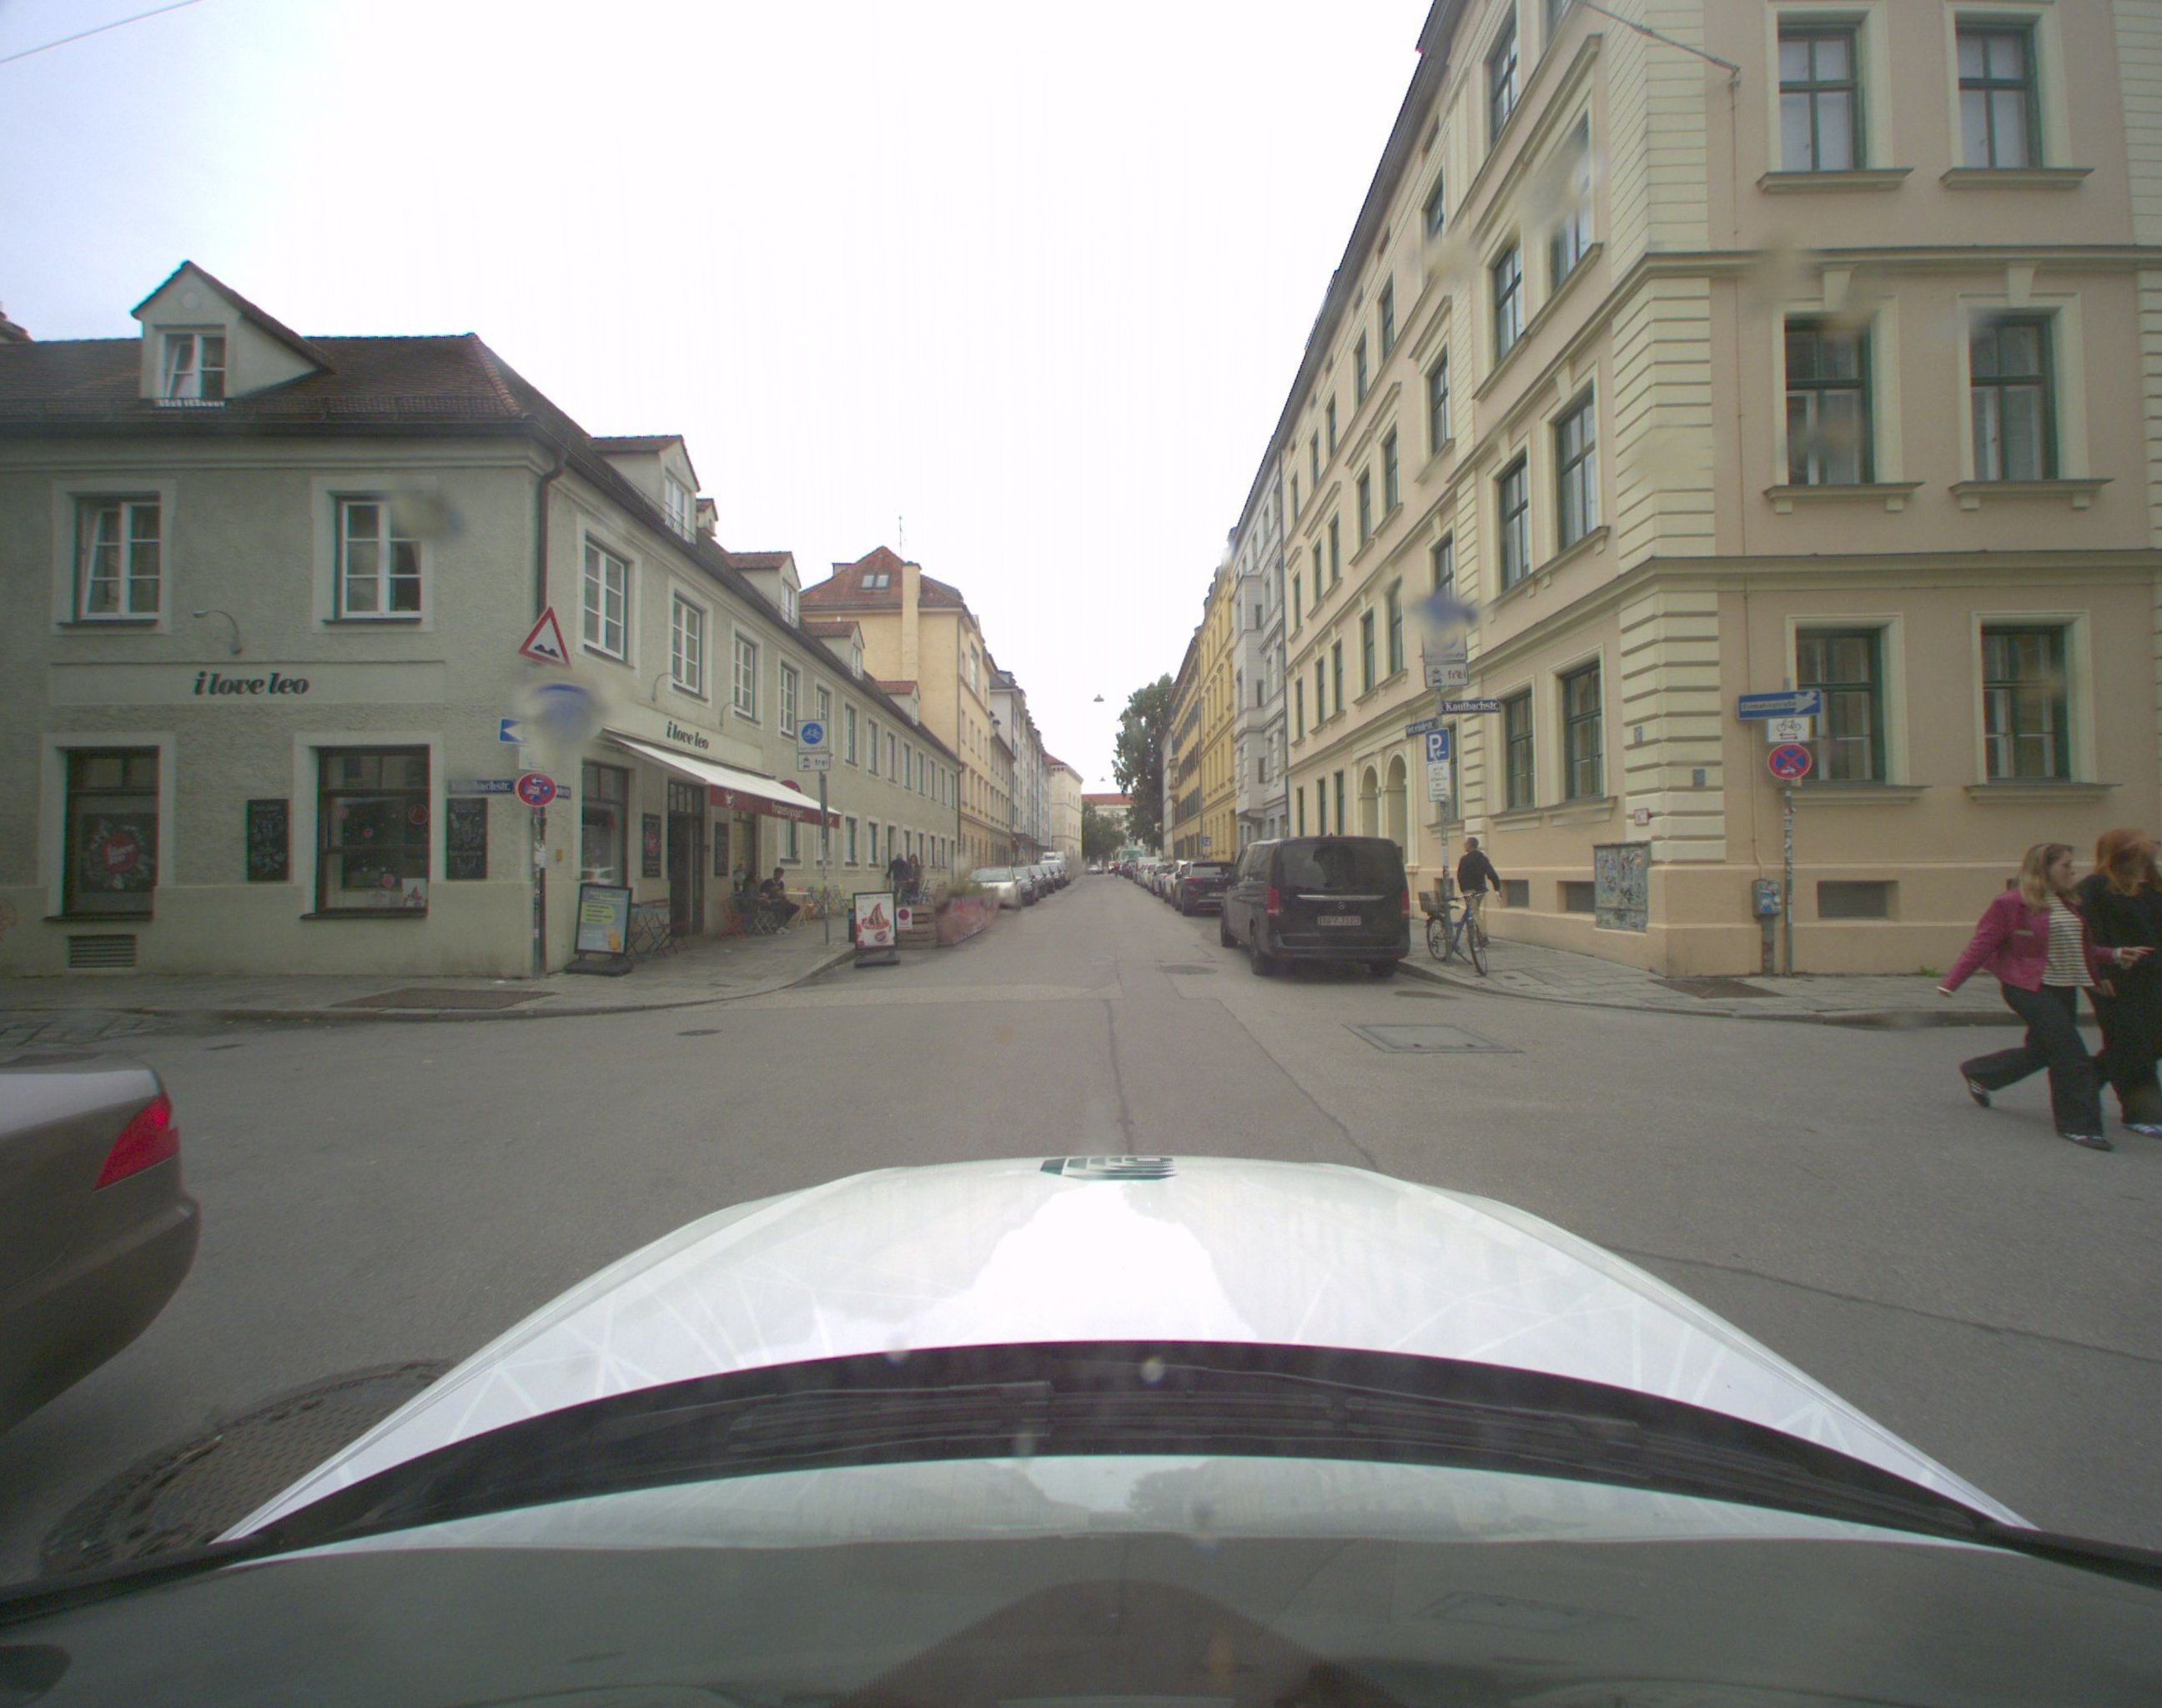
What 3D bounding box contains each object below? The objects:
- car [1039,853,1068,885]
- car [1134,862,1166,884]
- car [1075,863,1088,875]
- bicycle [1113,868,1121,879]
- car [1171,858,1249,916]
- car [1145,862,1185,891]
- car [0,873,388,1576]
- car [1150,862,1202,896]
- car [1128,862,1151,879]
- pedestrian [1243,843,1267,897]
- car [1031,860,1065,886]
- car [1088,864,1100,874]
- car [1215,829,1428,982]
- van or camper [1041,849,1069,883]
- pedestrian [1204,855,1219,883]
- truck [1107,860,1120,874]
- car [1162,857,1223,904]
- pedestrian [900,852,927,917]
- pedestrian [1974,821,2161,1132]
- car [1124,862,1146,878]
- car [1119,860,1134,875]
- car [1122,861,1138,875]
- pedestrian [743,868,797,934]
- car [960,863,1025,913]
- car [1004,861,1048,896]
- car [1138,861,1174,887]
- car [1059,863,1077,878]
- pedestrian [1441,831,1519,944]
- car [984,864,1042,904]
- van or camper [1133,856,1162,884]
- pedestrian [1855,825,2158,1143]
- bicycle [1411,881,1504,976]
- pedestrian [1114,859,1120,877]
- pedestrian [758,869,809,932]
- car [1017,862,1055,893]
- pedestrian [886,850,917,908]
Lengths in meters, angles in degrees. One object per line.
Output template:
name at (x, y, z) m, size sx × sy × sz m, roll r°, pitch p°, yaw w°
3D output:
car at (-1.790, 0.948, 52.184) m, size 1.750 × 1.995 × 4.621 m, roll 0°, pitch -1°, yaw -3°
car at (4.429, 1.223, 52.854) m, size 1.703 × 1.392 × 4.205 m, roll 0°, pitch -1°, yaw -1°
car at (0.095, 2.223, 119.391) m, size 1.699 × 1.609 × 3.866 m, roll -2°, pitch -1°, yaw 4°
bicycle at (3.494, 1.903, 79.049) m, size 0.673 × 1.095 × 1.761 m, roll -1°, pitch -2°, yaw 2°
car at (3.711, 0.921, 24.043) m, size 1.748 × 1.521 × 4.276 m, roll 0°, pitch -1°, yaw 2°
car at (4.215, 1.119, 41.436) m, size 1.701 × 1.408 × 4.816 m, roll 0°, pitch -1°, yaw 2°
car at (-3.121, 0.807, 0.214) m, size 1.674 × 1.471 × 4.947 m, roll -2°, pitch 0°, yaw -1°
car at (4.084, 1.063, 35.594) m, size 1.703 × 1.404 × 4.205 m, roll 0°, pitch -1°, yaw -1°
car at (5.163, 1.425, 72.279) m, size 1.805 × 1.465 × 4.247 m, roll 0°, pitch -1°, yaw 1°
pedestrian at (6.672, 0.615, 31.286) m, size 0.667 × 1.980 × 0.709 m, roll -4°, pitch -2°, yaw 2°
car at (-1.862, 1.090, 47.276) m, size 1.749 × 1.409 × 4.102 m, roll 0°, pitch -1°, yaw 0°
car at (2.119, 2.504, 133.812) m, size 1.699 × 1.581 × 3.867 m, roll -2°, pitch -1°, yaw 4°
car at (3.356, 0.647, 12.569) m, size 1.989 × 1.864 × 5.257 m, roll 0°, pitch -1°, yaw 3°
van or camper at (-1.796, 0.822, 57.588) m, size 1.748 × 2.281 × 5.273 m, roll 0°, pitch -1°, yaw 1°
pedestrian at (7.496, 0.875, 46.745) m, size 0.658 × 1.571 × 0.642 m, roll -4°, pitch -2°, yaw 1°
truck at (5.647, 2.272, 140.786) m, size 2.113 × 2.247 × 6.187 m, roll -1°, pitch -2°, yaw 2°
car at (3.932, 0.918, 29.359) m, size 1.736 × 1.583 × 4.468 m, roll 0°, pitch -1°, yaw 2°
pedestrian at (-4.686, 0.855, 22.791) m, size 0.526 × 1.782 × 0.877 m, roll -1°, pitch -2°, yaw 2°
pedestrian at (5.977, 0.648, 4.625) m, size 0.656 × 1.621 × 0.979 m, roll -1°, pitch -2°, yaw 0°
car at (5.080, 1.529, 77.563) m, size 1.806 × 1.425 × 4.245 m, roll 0°, pitch -1°, yaw 0°
car at (5.771, 1.709, 104.354) m, size 1.844 × 1.920 × 4.771 m, roll -1°, pitch -1°, yaw 2°
car at (5.870, 1.737, 98.471) m, size 1.805 × 1.614 × 4.157 m, roll -1°, pitch -1°, yaw 2°
pedestrian at (-6.283, 0.950, 16.465) m, size 0.800 × 1.290 × 0.694 m, roll -1°, pitch -2°, yaw 1°
car at (-2.759, 1.039, 25.998) m, size 1.750 × 1.475 × 3.711 m, roll 0°, pitch -1°, yaw -2°
car at (-2.458, 1.092, 37.156) m, size 1.749 × 1.496 × 4.198 m, roll 0°, pitch -1°, yaw -1°
car at (4.391, 1.170, 47.928) m, size 1.703 × 1.454 × 4.095 m, roll 0°, pitch -1°, yaw -1°
car at (-1.339, 1.715, 86.002) m, size 1.811 × 1.444 × 3.818 m, roll -2°, pitch -1°, yaw 1°
pedestrian at (6.337, 0.533, 12.990) m, size 0.716 × 1.717 × 1.003 m, roll -1°, pitch -2°, yaw 0°
car at (-2.513, 1.097, 31.171) m, size 1.792 × 1.339 × 4.685 m, roll 0°, pitch 0°, yaw 1°
van or camper at (4.671, 1.098, 57.757) m, size 1.827 × 1.872 × 5.080 m, roll 0°, pitch -1°, yaw 2°
pedestrian at (5.290, 0.685, 4.746) m, size 0.470 × 1.625 × 1.069 m, roll -1°, pitch -2°, yaw 1°
bicycle at (5.000, 0.948, 10.923) m, size 0.463 × 1.052 × 1.730 m, roll -3°, pitch 1°, yaw 2°
pedestrian at (3.494, 1.407, 79.117) m, size 0.639 × 1.714 × 0.843 m, roll -1°, pitch -2°, yaw 2°
pedestrian at (-6.271, 0.976, 17.188) m, size 0.800 × 1.290 × 0.694 m, roll -1°, pitch -2°, yaw 1°
car at (-2.298, 1.174, 42.088) m, size 1.811 × 1.441 × 4.128 m, roll -2°, pitch 0°, yaw -2°
pedestrian at (-5.986, 0.824, 27.202) m, size 0.820 × 1.898 × 0.827 m, roll -1°, pitch -2°, yaw 0°
